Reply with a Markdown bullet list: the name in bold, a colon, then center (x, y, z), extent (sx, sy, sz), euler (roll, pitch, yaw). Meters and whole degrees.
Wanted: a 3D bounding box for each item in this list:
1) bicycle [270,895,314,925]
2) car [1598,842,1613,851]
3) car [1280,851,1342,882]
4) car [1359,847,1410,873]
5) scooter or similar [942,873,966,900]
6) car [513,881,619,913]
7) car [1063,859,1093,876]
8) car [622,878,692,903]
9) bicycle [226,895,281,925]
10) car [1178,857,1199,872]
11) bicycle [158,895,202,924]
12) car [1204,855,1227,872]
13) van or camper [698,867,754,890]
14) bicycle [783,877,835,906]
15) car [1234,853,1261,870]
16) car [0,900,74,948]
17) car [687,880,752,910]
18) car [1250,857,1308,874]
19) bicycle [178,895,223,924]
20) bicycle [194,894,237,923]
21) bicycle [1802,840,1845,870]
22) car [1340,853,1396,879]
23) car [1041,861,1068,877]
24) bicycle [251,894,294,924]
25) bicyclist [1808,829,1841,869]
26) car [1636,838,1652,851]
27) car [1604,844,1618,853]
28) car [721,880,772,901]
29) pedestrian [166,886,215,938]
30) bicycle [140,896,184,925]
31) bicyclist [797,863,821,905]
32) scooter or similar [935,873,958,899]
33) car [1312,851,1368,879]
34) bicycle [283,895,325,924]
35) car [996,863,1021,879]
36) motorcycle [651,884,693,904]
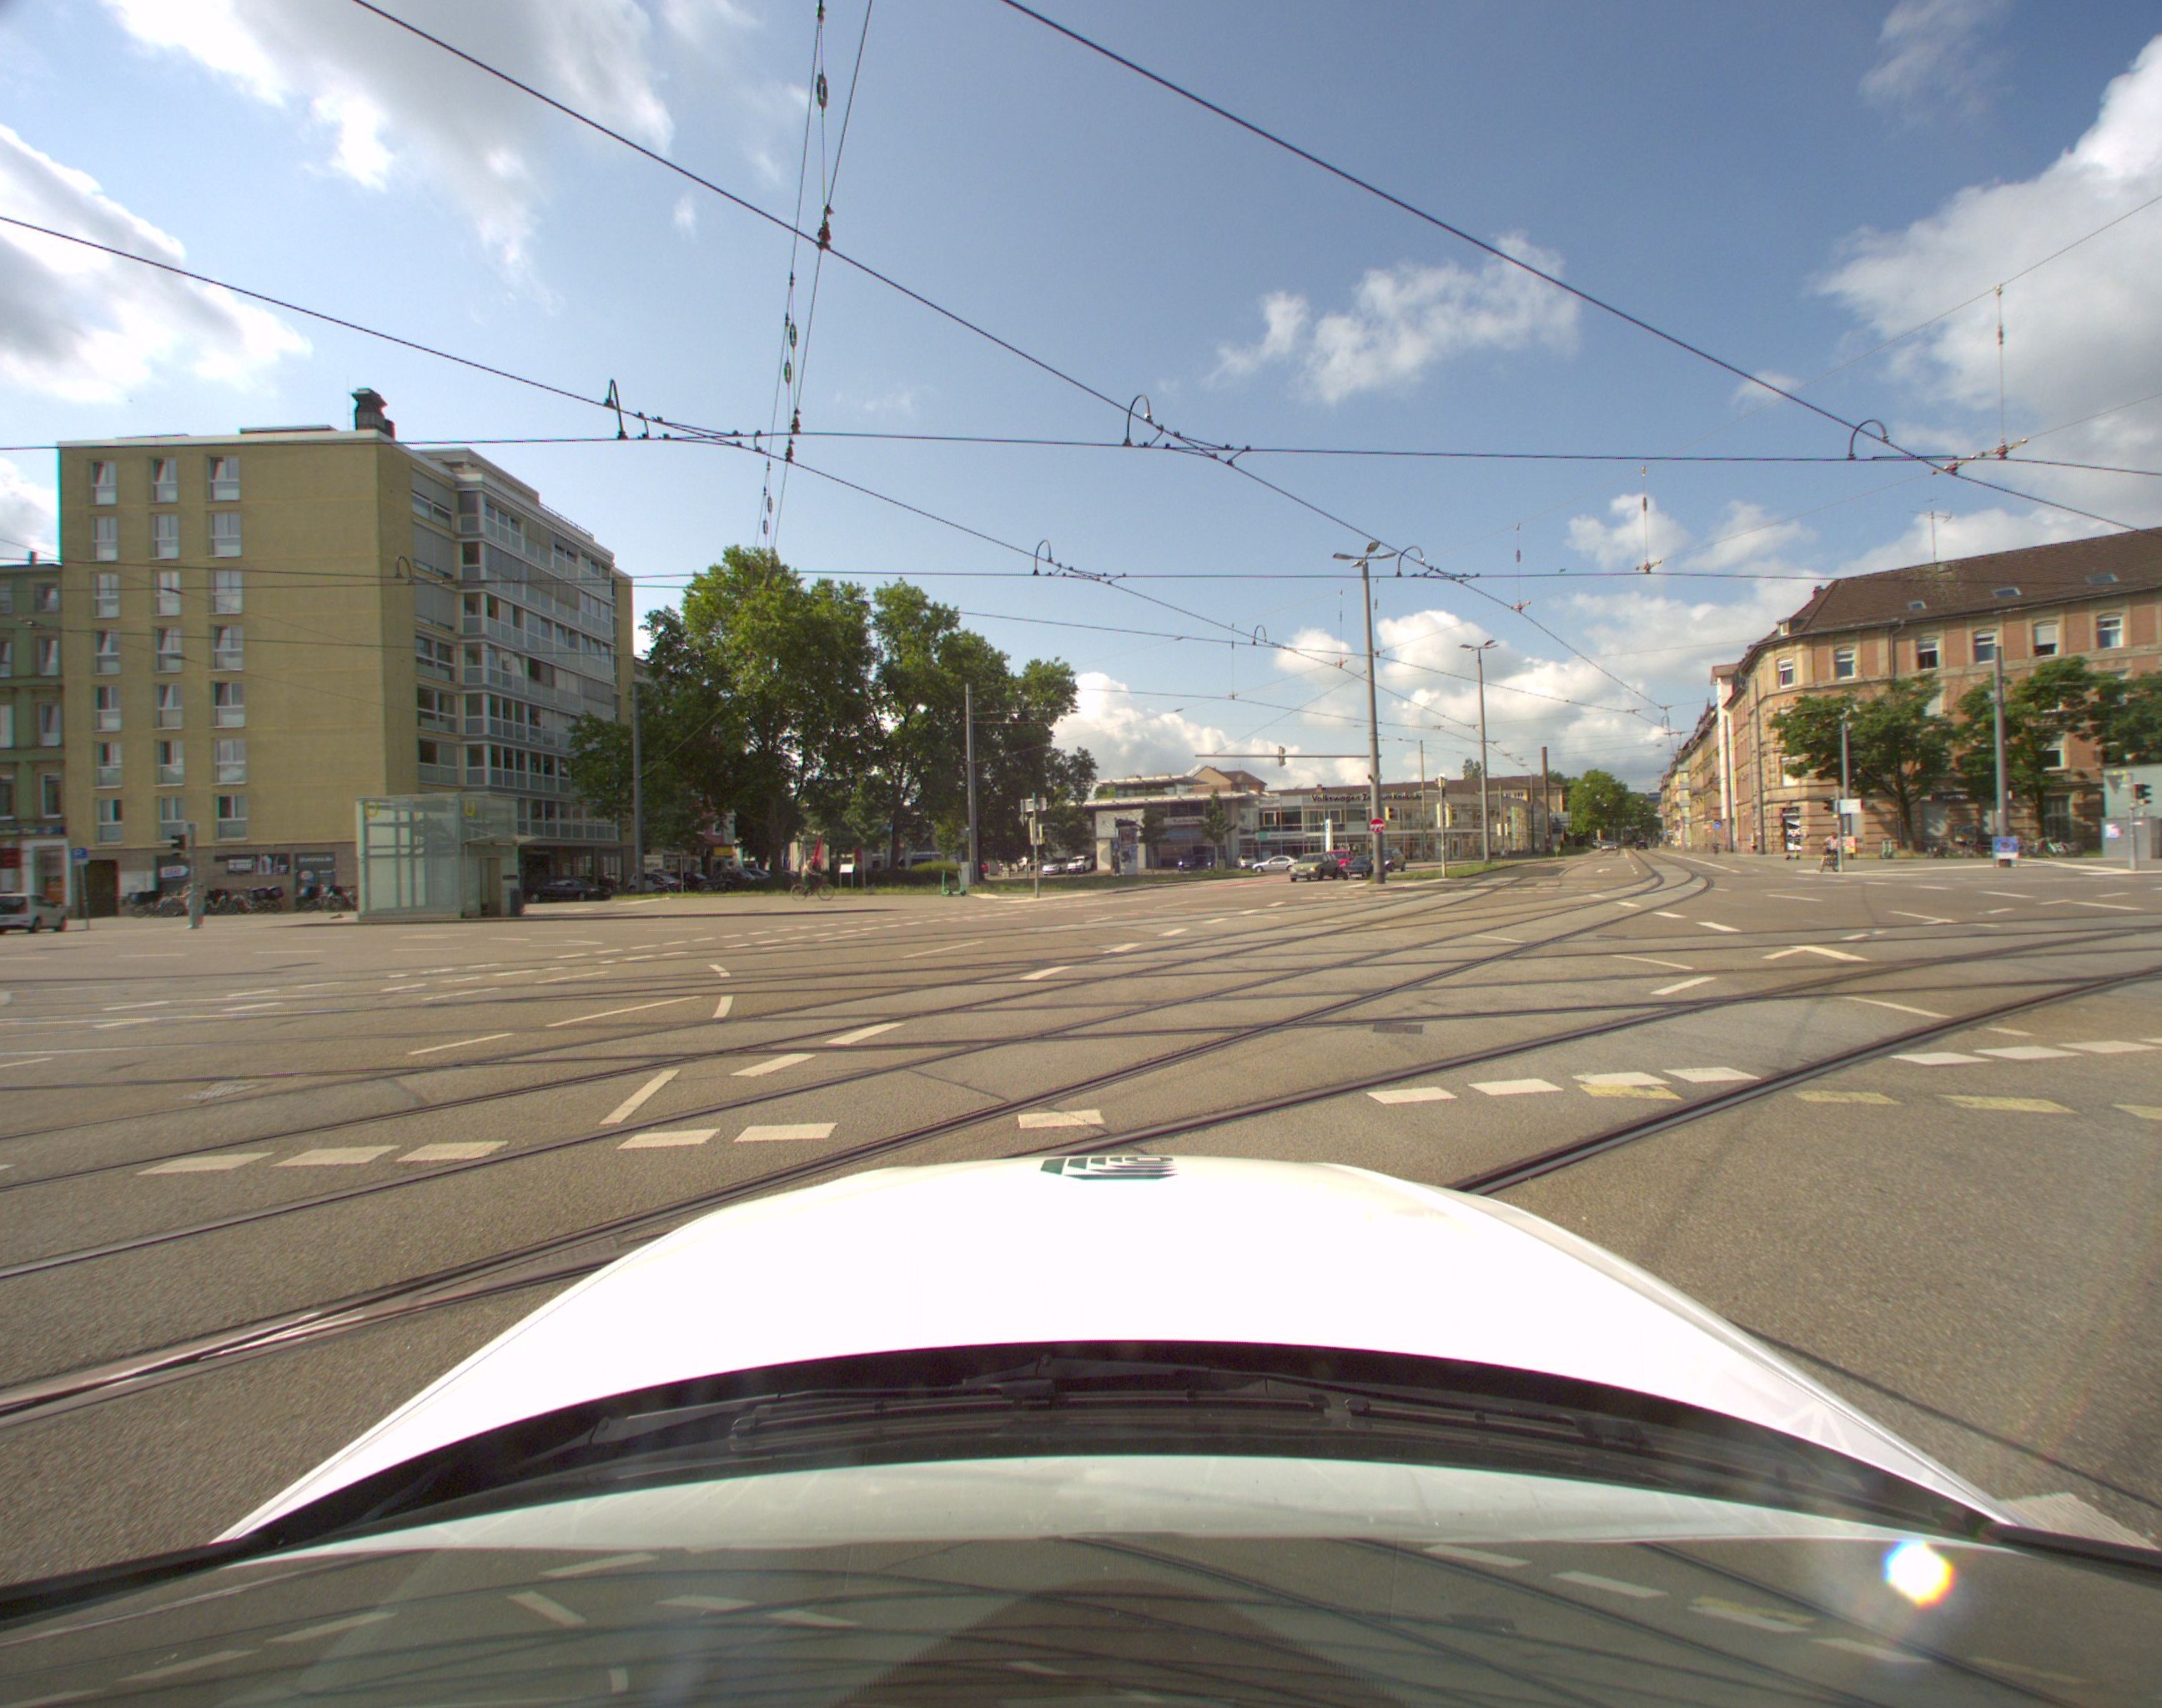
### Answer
- **bicycle**: center (-36.495, 2.593, 37.667), extent (1.631, 1.272, 0.532), euler (2, 2, 6)
- **car**: center (86.705, -1.291, 134.699), extent (1.974, 1.332, 4.025), euler (-2, -1, 32)
- **car**: center (11.898, 0.623, 41.995), extent (1.802, 1.513, 4.026), euler (-2, -1, 35)
- **car**: center (20.006, 0.358, 53.606), extent (1.974, 1.552, 4.026), euler (-2, -1, 38)
- **scooter or similar**: center (-5.624, 1.420, 36.108), extent (0.933, 1.157, 0.377), euler (1, 2, -37)
- **car**: center (-27.640, 2.283, 43.830), extent (4.362, 1.585, 2.000), euler (0, -1, 1)
- **car**: center (-0.266, 1.395, 85.517), extent (2.052, 1.604, 4.016), euler (-2, 0, 15)
- **car**: center (-28.112, 2.408, 54.041), extent (3.549, 1.530, 2.001), euler (-1, -1, 1)
- **bicycle**: center (-38.220, 2.572, 37.610), extent (1.881, 1.272, 0.487), euler (2, 1, -6)
- **car**: center (10.765, 1.041, 81.434), extent (1.908, 1.445, 4.011), euler (-2, 0, 10)
- **bicycle**: center (-42.256, 2.597, 38.194), extent (1.631, 1.201, 0.489), euler (2, 2, 6)
- **car**: center (13.204, 0.932, 79.983), extent (1.906, 1.444, 4.016), euler (0, 2, 14)
- **van or camper**: center (-41.031, 2.861, 94.050), extent (5.827, 2.469, 2.405), euler (-2, -1, 21)
- **bicycle**: center (-11.550, 1.581, 34.605), extent (1.985, 1.127, 0.787), euler (-1, -1, -10)
- **car**: center (16.528, 0.764, 80.769), extent (1.903, 1.552, 4.021), euler (-2, 0, 21)
- **car**: center (-39.085, 2.545, 29.992), extent (1.728, 1.440, 3.472), euler (2, 0, -38)
- **car**: center (-21.875, 2.463, 49.450), extent (1.783, 1.420, 4.006), euler (3, 2, 5)
- **car**: center (17.038, 0.956, 70.021), extent (4.494, 1.354, 2.011), euler (-2, -1, 23)
- **bicycle**: center (-40.584, 2.549, 37.538), extent (1.631, 1.201, 0.550), euler (2, 2, 6)
- **bicycle**: center (-40.479, 2.552, 38.095), extent (1.631, 1.201, 0.489), euler (2, 2, 6)
- **bicycle**: center (31.955, 0.034, 35.093), extent (0.889, 1.170, 2.698), euler (-4, -1, 33)
- **car**: center (14.325, 0.576, 40.551), extent (1.605, 1.161, 4.026), euler (-2, -1, 35)
- **car**: center (-2.820, 1.567, 86.727), extent (1.981, 1.574, 4.012), euler (-2, -1, 11)
- **bicycle**: center (-37.874, 2.569, 38.166), extent (1.631, 1.272, 0.489), euler (2, 2, 6)
- **bicyclist**: center (31.918, -0.218, 34.955), extent (0.775, 1.658, 1.205), euler (-4, -1, 33)
- **car**: center (94.780, -1.591, 137.037), extent (1.974, 2.014, 4.026), euler (-2, -1, 37)
- **car**: center (94.584, -0.993, 145.418), extent (1.974, 1.491, 4.025), euler (-3, -1, 31)
- **car**: center (-28.248, 3.063, 68.864), extent (3.590, 1.594, 1.669), euler (-1, -1, 5)
- **pedestrian**: center (-31.485, 2.034, 28.800), extent (0.786, 1.759, 0.988), euler (-2, -1, -22)
- **bicycle**: center (-42.491, 2.598, 37.669), extent (1.631, 1.201, 0.489), euler (2, 2, 6)
- **bicyclist**: center (-11.536, 1.250, 34.607), extent (0.825, 1.745, 0.709), euler (-1, -1, -10)
- **scooter or similar**: center (-6.019, 1.434, 36.541), extent (0.931, 1.157, 0.378), euler (1, 2, -25)
- **car**: center (15.021, 0.601, 47.140), extent (1.974, 1.519, 4.026), euler (-2, -1, 35)
- **bicycle**: center (-36.462, 2.598, 38.208), extent (1.631, 1.272, 0.489), euler (2, 2, 6)
- **car**: center (-7.872, 1.841, 88.442), extent (1.671, 1.596, 4.011), euler (-2, -1, 10)
- **motorcycle**: center (-21.707, 2.114, 43.213), extent (1.905, 0.902, 0.598), euler (-1, 1, -41)
